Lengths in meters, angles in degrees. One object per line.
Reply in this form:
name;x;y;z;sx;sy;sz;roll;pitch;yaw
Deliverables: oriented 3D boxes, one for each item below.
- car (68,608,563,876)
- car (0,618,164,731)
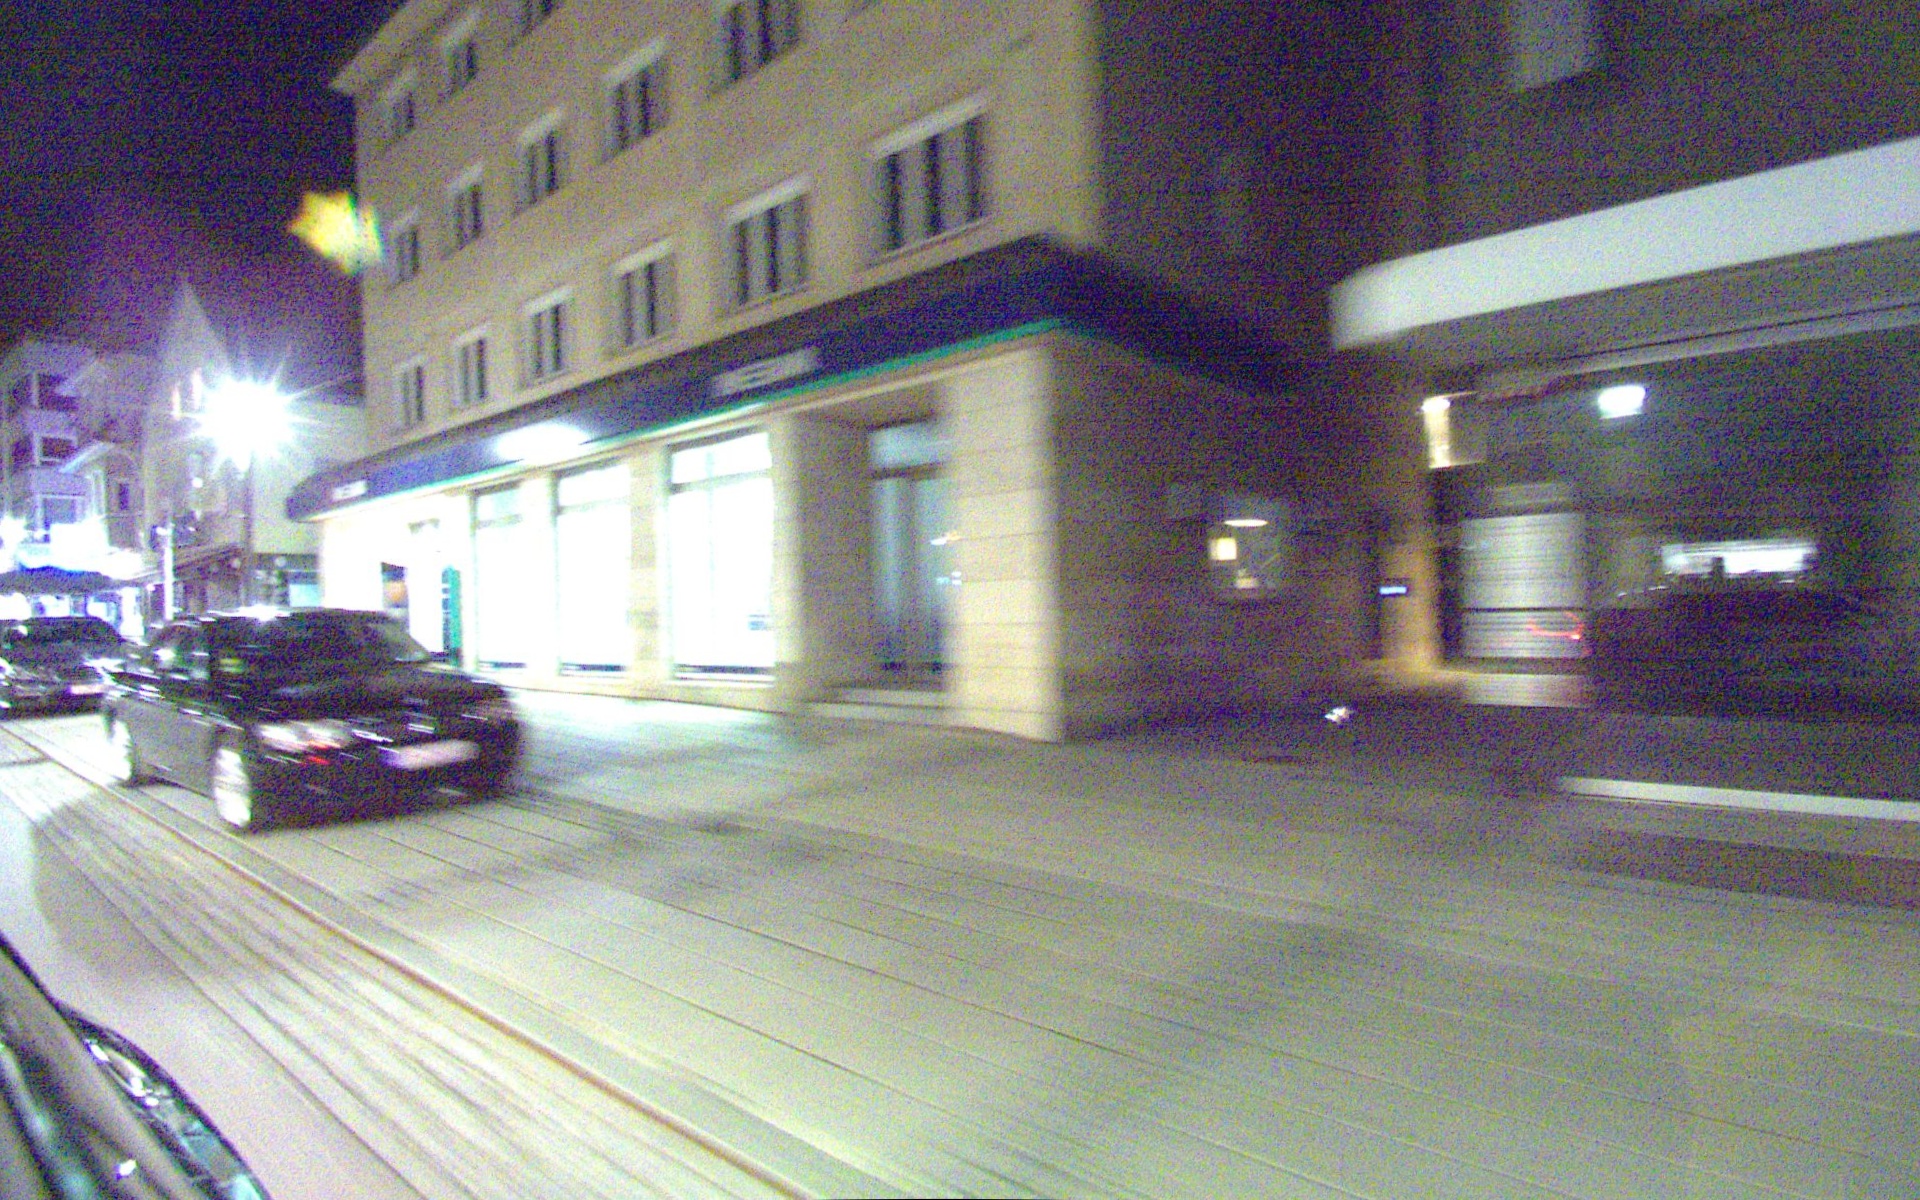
car;-5.240;0.874;7.959;4.616;1.475;1.827;-2;0;38
car;-14.245;1.078;15.761;4.518;1.481;1.882;-2;0;38
